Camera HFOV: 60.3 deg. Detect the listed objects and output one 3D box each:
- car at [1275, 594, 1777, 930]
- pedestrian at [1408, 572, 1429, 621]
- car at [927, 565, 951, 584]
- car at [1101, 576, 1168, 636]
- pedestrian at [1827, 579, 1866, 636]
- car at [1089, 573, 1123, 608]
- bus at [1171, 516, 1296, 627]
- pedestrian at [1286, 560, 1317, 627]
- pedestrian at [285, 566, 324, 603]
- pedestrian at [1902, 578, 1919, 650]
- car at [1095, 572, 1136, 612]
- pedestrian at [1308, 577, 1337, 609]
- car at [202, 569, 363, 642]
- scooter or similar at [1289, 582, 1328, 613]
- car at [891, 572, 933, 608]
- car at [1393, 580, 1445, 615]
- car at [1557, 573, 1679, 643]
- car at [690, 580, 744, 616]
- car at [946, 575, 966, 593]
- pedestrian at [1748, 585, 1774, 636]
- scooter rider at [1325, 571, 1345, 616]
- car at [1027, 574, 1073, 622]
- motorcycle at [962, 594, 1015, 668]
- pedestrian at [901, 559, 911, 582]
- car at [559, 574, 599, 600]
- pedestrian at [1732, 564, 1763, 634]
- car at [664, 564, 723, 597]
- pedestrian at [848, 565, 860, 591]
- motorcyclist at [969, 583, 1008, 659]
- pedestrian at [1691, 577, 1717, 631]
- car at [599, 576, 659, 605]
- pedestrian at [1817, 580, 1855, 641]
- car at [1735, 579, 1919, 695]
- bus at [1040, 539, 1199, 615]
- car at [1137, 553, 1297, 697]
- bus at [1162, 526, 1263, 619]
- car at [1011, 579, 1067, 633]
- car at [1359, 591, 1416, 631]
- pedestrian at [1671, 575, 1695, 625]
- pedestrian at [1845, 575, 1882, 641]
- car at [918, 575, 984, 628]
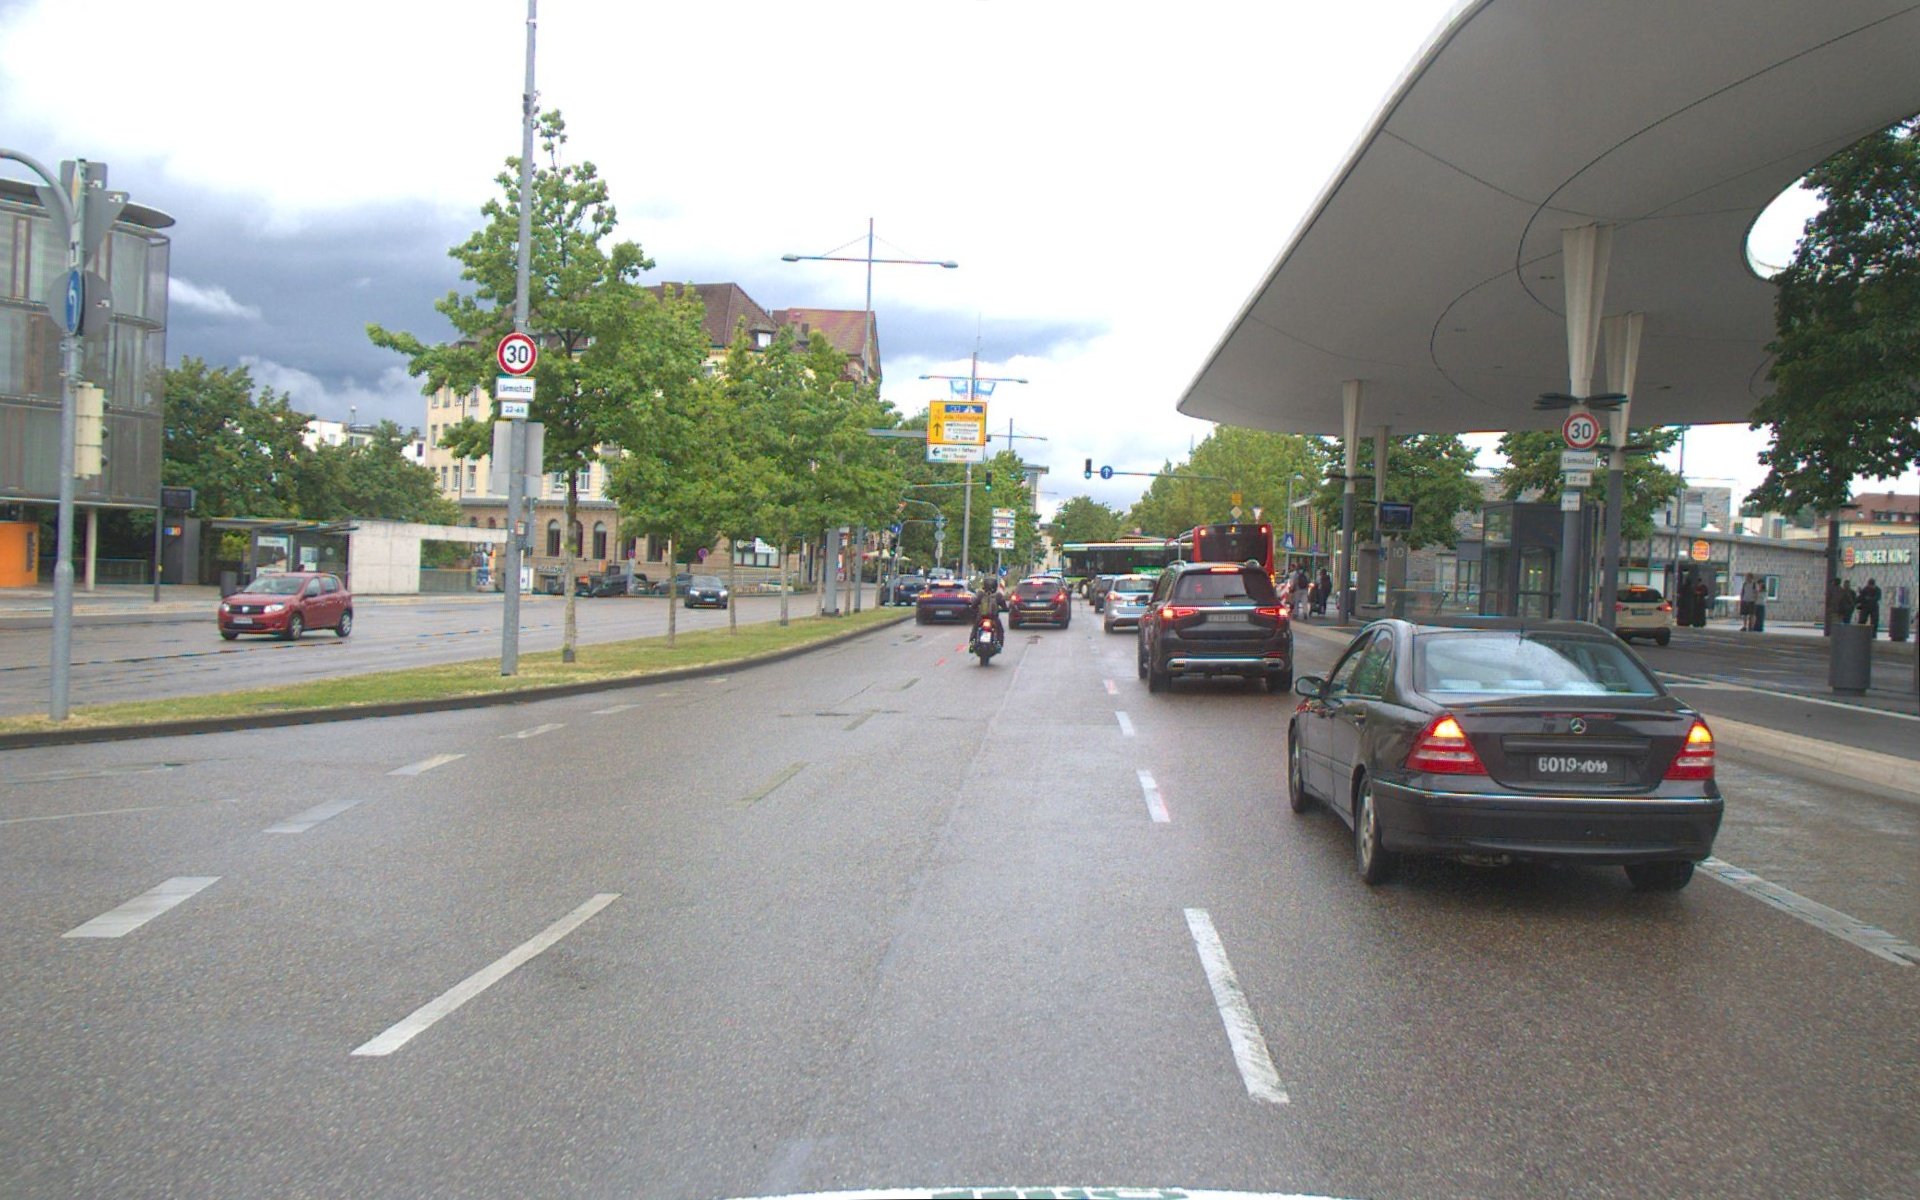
[{"bbox_3d":[3.019,0.740,9.799,1.662,1.487,4.305,0,1,2],"label":"car"},{"bbox_3d":[16.049,-0.119,57.942,0.563,1.707,0.582,1,0,30],"label":"pedestrian"},{"bbox_3d":[-1.813,-2.200,142.781,1.742,1.594,3.432,-1,1,4],"label":"car"},{"bbox_3d":[4.873,0.123,46.637,1.704,1.594,3.873,-1,1,4],"label":"car"},{"bbox_3d":[26.161,0.214,48.815,0.573,1.605,0.766,6,-3,-28],"label":"pedestrian"},{"bbox_3d":[7.012,-0.471,79.596,1.542,1.594,3.798,-1,1,4],"label":"car"},{"bbox_3d":[9.052,-0.947,56.004,3.217,3.349,10.884,1,1,4],"label":"bus"},{"bbox_3d":[10.970,-0.210,53.115,0.761,2.048,0.782,4,-1,16],"label":"pedestrian"},{"bbox_3d":[-24.634,-0.570,62.160,0.956,1.289,0.849,5,2,24],"label":"pedestrian"},{"bbox_3d":[23.127,0.336,39.737,0.549,1.721,0.613,2,1,-3],"label":"pedestrian"},{"bbox_3d":[6.356,-0.350,67.742,1.542,1.594,3.873,-1,1,4],"label":"car"},{"bbox_3d":[12.293,-0.239,56.073,0.894,1.002,0.634,2,-3,18],"label":"pedestrian"},{"bbox_3d":[-15.638,0.096,38.397,1.784,1.579,4.035,1,0,5],"label":"car"},{"bbox_3d":[11.861,-0.080,56.255,1.217,1.030,0.764,1,0,18],"label":"scooter or similar"},{"bbox_3d":[-2.327,-0.465,79.724,1.800,1.656,3.702,1,0,-5],"label":"car"},{"bbox_3d":[22.110,-0.143,79.726,1.509,1.587,3.409,2,1,0],"label":"car"},{"bbox_3d":[17.355,0.173,43.816,1.676,1.691,4.241,2,1,3],"label":"car"},{"bbox_3d":[-11.109,-0.116,75.839,1.645,1.554,4.640,1,0,1],"label":"car"},{"bbox_3d":[-0.320,-1.464,148.998,1.542,1.594,3.432,-1,1,4],"label":"car"},{"bbox_3d":[26.345,0.345,54.394,0.570,1.605,0.558,3,-4,39],"label":"pedestrian"},{"bbox_3d":[12.704,-0.212,56.005,0.579,1.516,0.765,1,0,17],"label":"scooter rider"},{"bbox_3d":[3.153,-0.091,57.462,1.542,1.594,3.873,-1,1,4],"label":"car"},{"bbox_3d":[0.532,0.542,30.116,0.776,1.284,1.856,0,1,7],"label":"motorcycle"},{"bbox_3d":[-4.827,-2.648,147.855,0.714,2.000,0.821,0,1,-23],"label":"pedestrian"},{"bbox_3d":[-25.653,-0.875,111.296,1.642,1.632,3.217,-3,2,-32],"label":"car"},{"bbox_3d":[24.275,-0.028,50.956,0.710,2.049,0.668,3,-3,30],"label":"pedestrian"},{"bbox_3d":[-15.659,-1.144,97.061,1.849,1.713,3.953,6,-2,-34],"label":"car"},{"bbox_3d":[-8.401,-1.760,131.077,0.714,2.049,0.821,0,1,-23],"label":"pedestrian"},{"bbox_3d":[0.521,0.381,30.281,0.628,1.371,0.689,1,1,7],"label":"motorcyclist"},{"bbox_3d":[24.862,0.127,55.273,0.570,1.745,0.558,3,-4,39],"label":"pedestrian"},{"bbox_3d":[-21.517,-0.629,107.387,2.098,1.807,4.332,0,1,-38],"label":"car"},{"bbox_3d":[23.254,0.285,43.921,0.586,1.609,0.711,2,-2,-5],"label":"pedestrian"},{"bbox_3d":[12.549,0.478,23.506,1.613,1.478,3.239,2,1,2],"label":"car"},{"bbox_3d":[8.982,-1.340,95.319,2.808,4.057,11.742,1,0,-30],"label":"bus"},{"bbox_3d":[3.711,0.301,24.655,1.916,1.908,4.876,-1,1,4],"label":"car"},{"bbox_3d":[9.747,-1.075,64.817,3.222,3.346,8.854,1,1,4],"label":"bus"},{"bbox_3d":[2.392,0.141,49.457,1.542,1.531,3.873,-1,1,4],"label":"car"},{"bbox_3d":[19.715,0.492,76.377,1.676,1.691,4.241,2,1,3],"label":"car"},{"bbox_3d":[24.063,-0.008,55.019,0.569,1.605,0.559,3,-3,33],"label":"pedestrian"},{"bbox_3d":[24.910,0.224,45.624,0.694,1.737,0.768,-3,2,16],"label":"pedestrian"},{"bbox_3d":[-0.254,0.017,52.821,1.778,1.598,4.406,-1,1,4],"label":"car"}]
